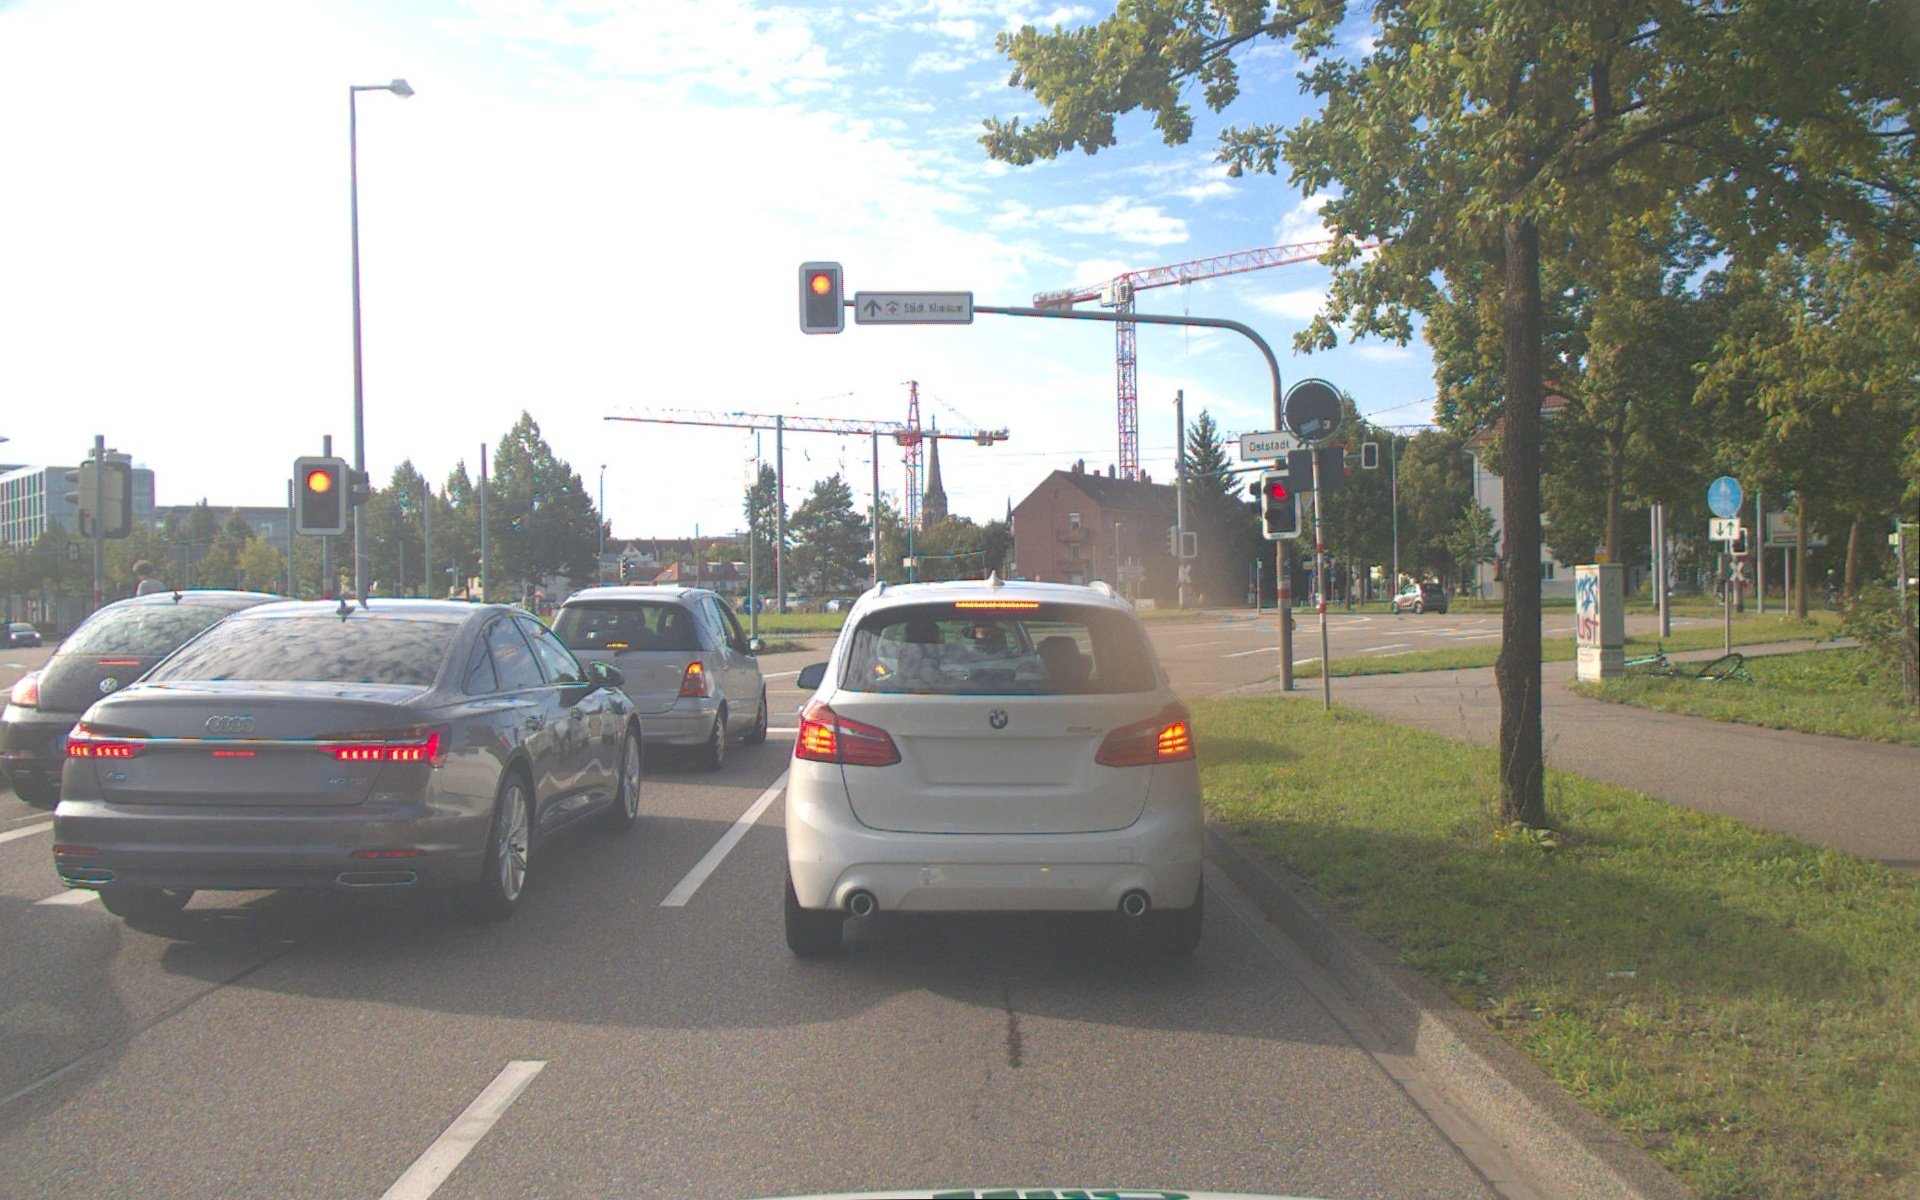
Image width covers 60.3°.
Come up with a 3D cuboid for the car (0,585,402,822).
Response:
[{"bbox_3d":[-5.726,0.676,12.710,1.646,1.549,3.809,0,0,-1],"label":"car"}]

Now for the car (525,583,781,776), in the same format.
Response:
[{"bbox_3d":[-2.748,0.648,15.665,1.694,1.585,4.057,0,0,-1],"label":"car"}]

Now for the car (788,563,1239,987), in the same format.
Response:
[{"bbox_3d":[0.170,0.652,8.241,1.694,1.585,4.057,0,0,-1],"label":"car"}]

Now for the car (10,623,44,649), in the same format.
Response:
[{"bbox_3d":[-54.560,2.108,96.772,1.574,1.440,3.636,-1,0,-28],"label":"car"}]

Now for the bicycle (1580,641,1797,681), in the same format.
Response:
[{"bbox_3d":[9.502,0.783,21.744,1.382,0.392,2.569,-1,0,-12],"label":"bicycle"}]

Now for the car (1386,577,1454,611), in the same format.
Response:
[{"bbox_3d":[23.174,-0.283,83.434,1.550,1.601,3.172,-3,1,-25],"label":"car"}]

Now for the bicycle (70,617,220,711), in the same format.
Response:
[{"bbox_3d":[-10.844,0.838,22.060,1.698,1.184,0.652,-1,0,-18],"label":"bicycle"}]

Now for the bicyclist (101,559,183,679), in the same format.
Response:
[{"bbox_3d":[-10.898,0.241,22.055,0.835,1.553,0.737,-1,0,-17],"label":"bicyclist"}]

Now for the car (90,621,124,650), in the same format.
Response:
[{"bbox_3d":[-48.097,1.971,93.258,1.596,1.490,3.699,-1,1,-26],"label":"car"}]

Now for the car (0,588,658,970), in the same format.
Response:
[{"bbox_3d":[-2.940,0.723,8.881,1.851,1.509,4.612,0,0,-1],"label":"car"}]
